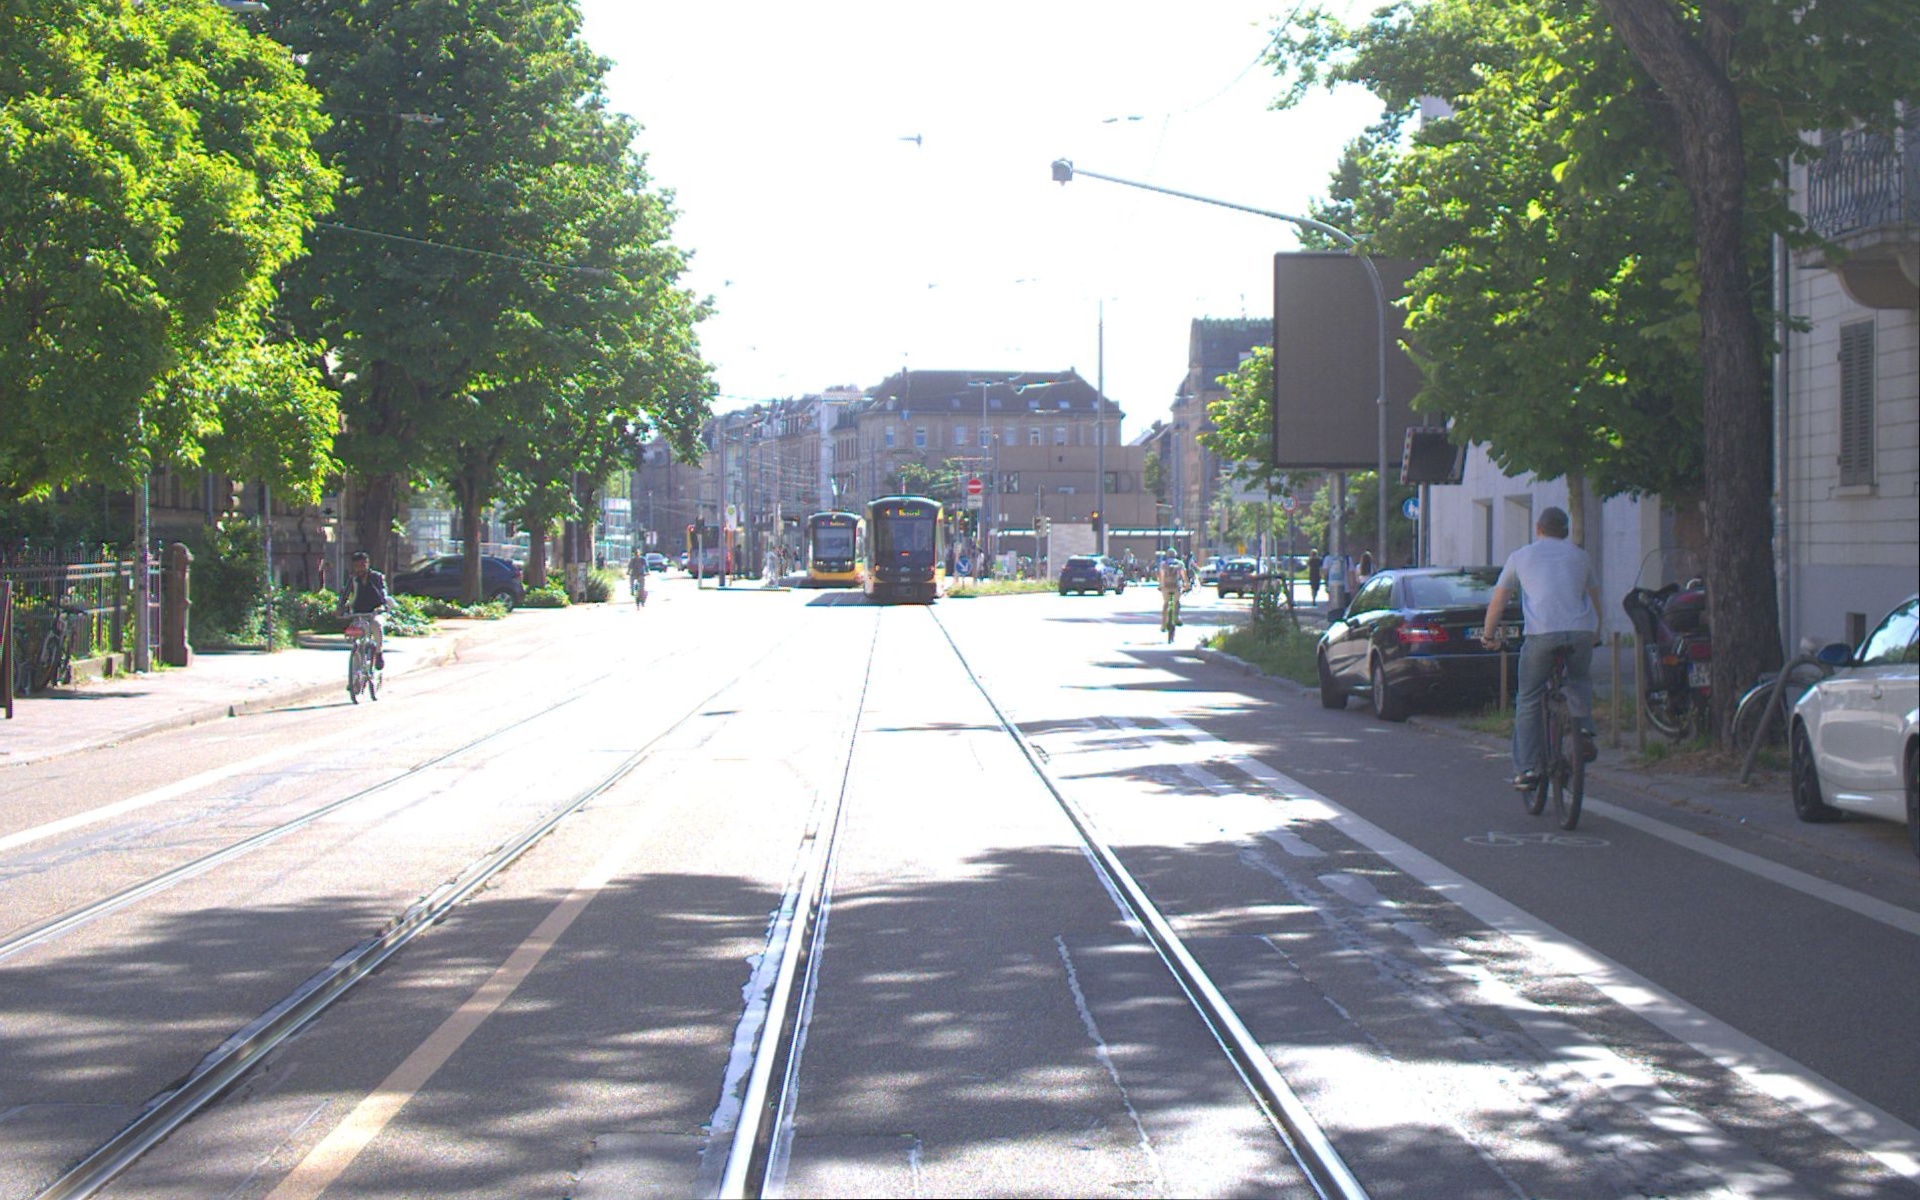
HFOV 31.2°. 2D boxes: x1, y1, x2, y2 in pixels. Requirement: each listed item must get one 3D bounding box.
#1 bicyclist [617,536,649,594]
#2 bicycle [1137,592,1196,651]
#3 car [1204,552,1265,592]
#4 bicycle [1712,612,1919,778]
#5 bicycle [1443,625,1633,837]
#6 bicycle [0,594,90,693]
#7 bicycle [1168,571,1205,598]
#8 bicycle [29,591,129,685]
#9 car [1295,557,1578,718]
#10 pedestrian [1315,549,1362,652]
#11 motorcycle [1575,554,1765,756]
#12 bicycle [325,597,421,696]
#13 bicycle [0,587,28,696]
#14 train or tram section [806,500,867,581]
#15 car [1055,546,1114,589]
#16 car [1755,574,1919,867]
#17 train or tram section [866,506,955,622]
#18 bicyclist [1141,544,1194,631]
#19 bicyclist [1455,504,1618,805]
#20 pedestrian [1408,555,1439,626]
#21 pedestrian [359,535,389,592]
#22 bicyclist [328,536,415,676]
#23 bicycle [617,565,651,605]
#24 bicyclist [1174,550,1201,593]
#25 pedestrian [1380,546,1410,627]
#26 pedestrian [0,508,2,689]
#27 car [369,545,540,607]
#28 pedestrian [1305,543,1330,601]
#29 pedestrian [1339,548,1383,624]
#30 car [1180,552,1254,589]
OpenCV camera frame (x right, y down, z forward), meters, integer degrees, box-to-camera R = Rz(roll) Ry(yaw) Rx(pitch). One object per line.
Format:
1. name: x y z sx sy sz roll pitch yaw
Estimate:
1. bicyclist: -9.365 -1.004 98.606 0.687 1.639 1.237 -2 1 3
2. bicycle: 4.084 0.418 67.957 0.705 1.101 1.715 2 1 19
3. car: 10.924 -1.118 136.540 1.790 1.506 3.710 2 1 14
4. bicycle: 5.909 0.622 22.911 1.619 1.039 0.685 -1 1 0
5. bicycle: 3.305 0.724 19.840 0.738 1.090 2.111 2 1 1
6. bicycle: -10.431 0.475 38.658 0.590 1.042 1.904 2 1 7
7. bicycle: 9.129 -0.623 138.339 0.706 1.051 2.311 3 2 24
8. bicycle: -10.408 0.436 40.658 0.590 1.042 1.905 2 1 2
9. car: 4.722 0.322 34.751 1.821 1.453 4.819 -1 1 -4
10. pedestrian: 6.886 0.006 62.584 0.683 1.843 0.955 -1 1 -2
11. motorcycle: 5.541 0.392 27.000 0.913 1.483 2.679 -2 1 0
12. bicycle: -6.889 0.538 40.406 0.745 1.078 1.899 -3 1 0
13. bicycle: -10.485 0.435 36.092 0.646 1.139 1.904 3 1 7
14. train or tram section: -5.778 -2.829 162.312 2.742 3.639 13.787 0 1 -2
15. car: 4.917 -1.289 135.253 1.790 1.599 3.711 2 1 10
16. car: 5.559 0.575 18.164 1.724 1.377 4.356 -1 1 1
17. train or tram section: -1.768 -1.288 115.900 2.742 3.639 13.787 0 1 -2
18. bicyclist: 4.104 -0.257 67.942 0.705 1.669 1.100 2 1 19
19. bicyclist: 3.319 0.301 19.861 0.738 1.680 0.972 2 1 1
20. pedestrian: 9.094 -0.187 67.472 0.518 1.399 0.764 0 1 2
21. pedestrian: -17.154 -1.063 100.668 0.700 1.629 0.759 3 1 -1
22. bicyclist: -6.910 0.063 40.400 0.745 1.594 1.118 -3 1 0
23. bicycle: -9.348 -0.437 98.631 0.687 1.120 1.931 -2 1 3
24. bicyclist: 9.141 -1.164 138.289 0.706 1.694 0.986 3 2 24
25. pedestrian: 8.541 -0.270 67.558 0.518 1.595 0.764 0 1 2
26. pedestrian: -10.021 -0.013 34.341 0.576 1.825 0.689 1 1 18
27. car: -13.207 -0.623 89.855 3.986 1.545 1.878 1 1 -28
28. pedestrian: 11.691 -0.920 112.514 0.637 1.897 1.134 -2 1 0
29. pedestrian: 8.751 -0.307 75.038 0.857 1.635 0.993 0 -1 2
30. car: 11.806 -1.357 157.749 1.705 1.638 3.705 2 1 34
